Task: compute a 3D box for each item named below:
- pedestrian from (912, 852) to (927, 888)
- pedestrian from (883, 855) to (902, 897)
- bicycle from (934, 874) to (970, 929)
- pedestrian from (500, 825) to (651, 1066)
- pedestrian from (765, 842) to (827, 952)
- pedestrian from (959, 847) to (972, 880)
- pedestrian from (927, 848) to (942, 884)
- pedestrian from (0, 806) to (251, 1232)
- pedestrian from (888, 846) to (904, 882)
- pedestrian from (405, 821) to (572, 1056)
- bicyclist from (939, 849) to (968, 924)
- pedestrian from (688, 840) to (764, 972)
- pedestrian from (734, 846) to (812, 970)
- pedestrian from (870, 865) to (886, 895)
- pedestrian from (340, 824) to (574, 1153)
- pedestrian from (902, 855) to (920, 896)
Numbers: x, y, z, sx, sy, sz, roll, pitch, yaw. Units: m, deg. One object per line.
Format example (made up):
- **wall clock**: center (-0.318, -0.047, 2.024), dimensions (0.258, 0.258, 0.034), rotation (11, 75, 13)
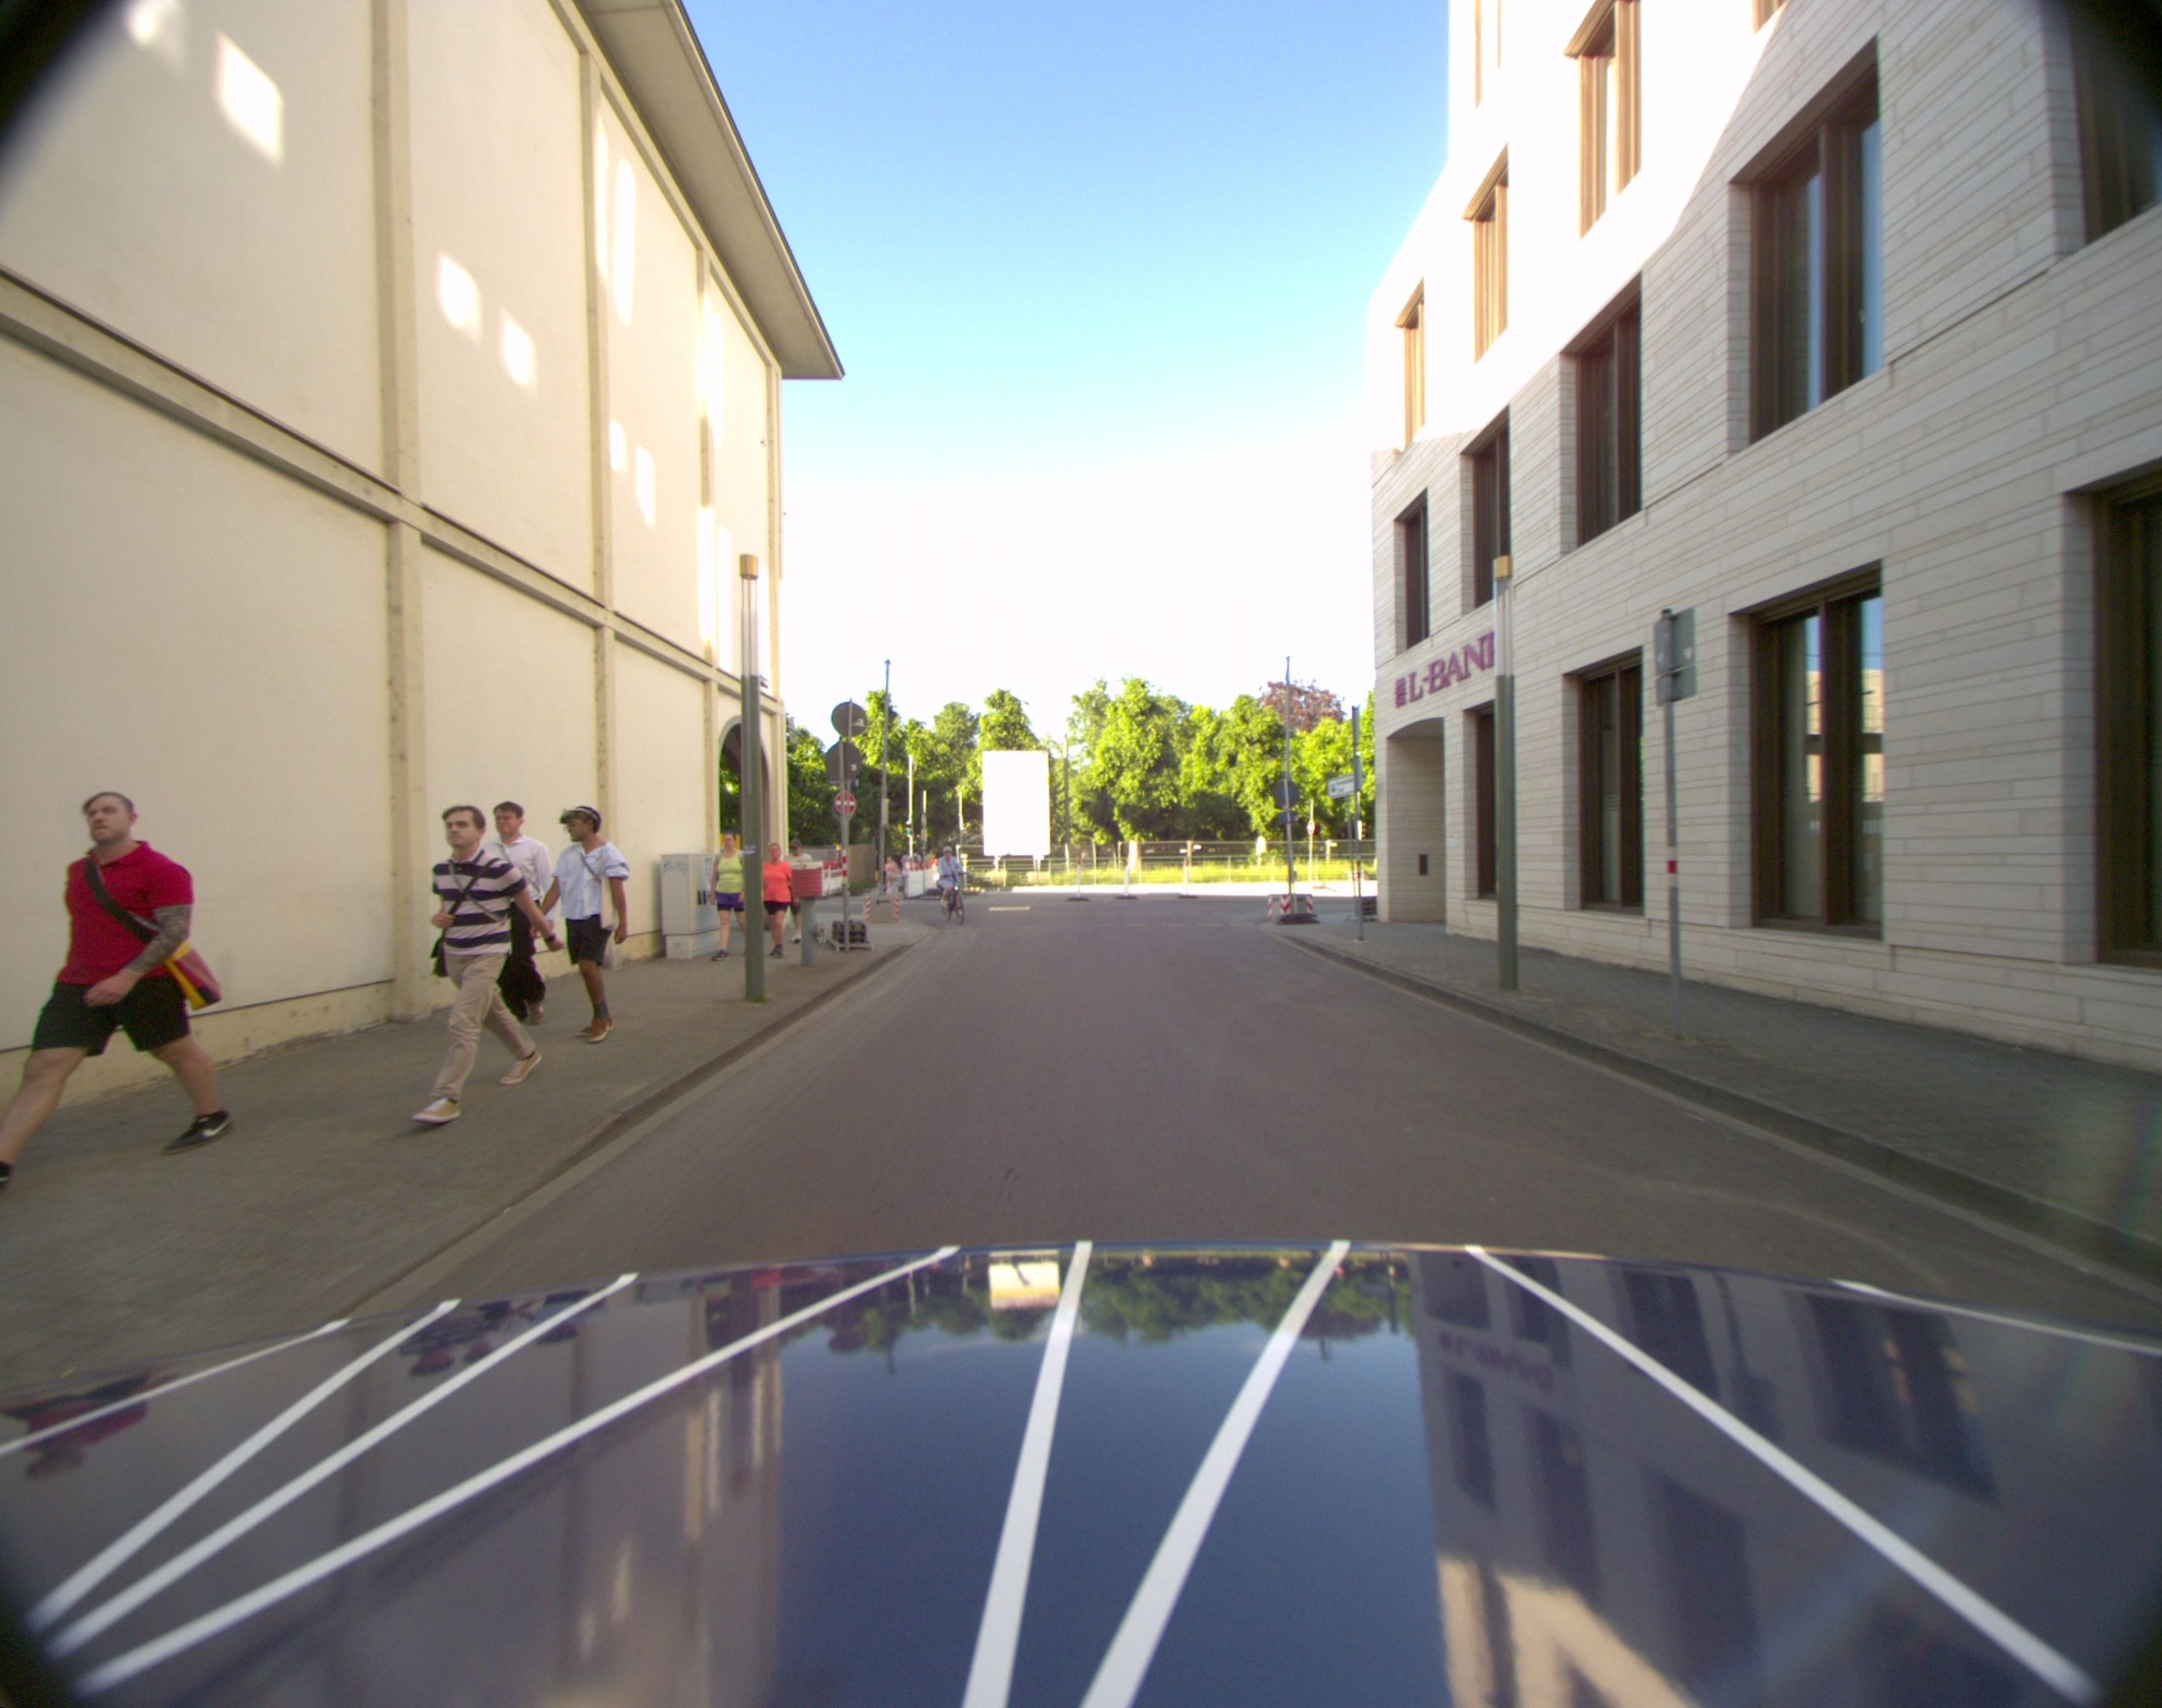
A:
- **pedestrian**: center (-8.046, 0.786, 37.823), dimensions (0.626, 1.773, 0.622), rotation (-1, 2, -7)
- **pedestrian**: center (-7.467, 0.862, 30.064), dimensions (0.626, 1.632, 0.622), rotation (-1, 2, -7)
- **bicycle**: center (-2.945, 1.060, 17.522), dimensions (0.595, 1.077, 2.309), rotation (-1, 1, -4)
- **pedestrian**: center (-3.949, 0.678, 5.985), dimensions (0.685, 1.768, 0.693), rotation (2, 1, 0)
- **pedestrian**: center (-4.612, 0.681, 12.317), dimensions (0.685, 1.705, 0.693), rotation (2, 1, 0)
- **pedestrian**: center (-6.321, 0.538, 41.621), dimensions (0.626, 1.773, 0.622), rotation (-1, 2, -7)
- **pedestrian**: center (-7.240, 0.579, 37.492), dimensions (0.626, 1.773, 0.622), rotation (-1, 2, -7)
- **pedestrian**: center (-4.509, 0.687, 3.483), dimensions (0.685, 1.768, 0.593), rotation (3, 1, 0)
- **pedestrian**: center (-9.171, 0.487, 37.647), dimensions (0.626, 1.773, 0.622), rotation (-1, 2, -7)
- **pedestrian**: center (-4.819, 0.657, 6.227), dimensions (0.685, 1.768, 0.693), rotation (5, 1, 0)
- **bicyclist**: center (-2.960, 0.741, 17.633), dimensions (0.586, 1.679, 0.538), rotation (-1, 2, -5)
- **pedestrian**: center (-4.766, 0.673, 10.231), dimensions (0.685, 1.705, 0.693), rotation (1, 1, 0)
- **pedestrian**: center (-4.279, 0.724, 10.600), dimensions (0.685, 1.627, 0.693), rotation (4, 1, 0)
- **pedestrian**: center (-8.094, 1.033, 30.301), dimensions (0.535, 1.170, 0.623), rotation (-1, 1, -7)
- **pedestrian**: center (-3.675, 0.743, 4.540), dimensions (0.685, 1.768, 0.693), rotation (5, 1, 0)
- **pedestrian**: center (-6.766, 0.840, 30.269), dimensions (0.626, 1.604, 0.622), rotation (-1, 2, -7)
